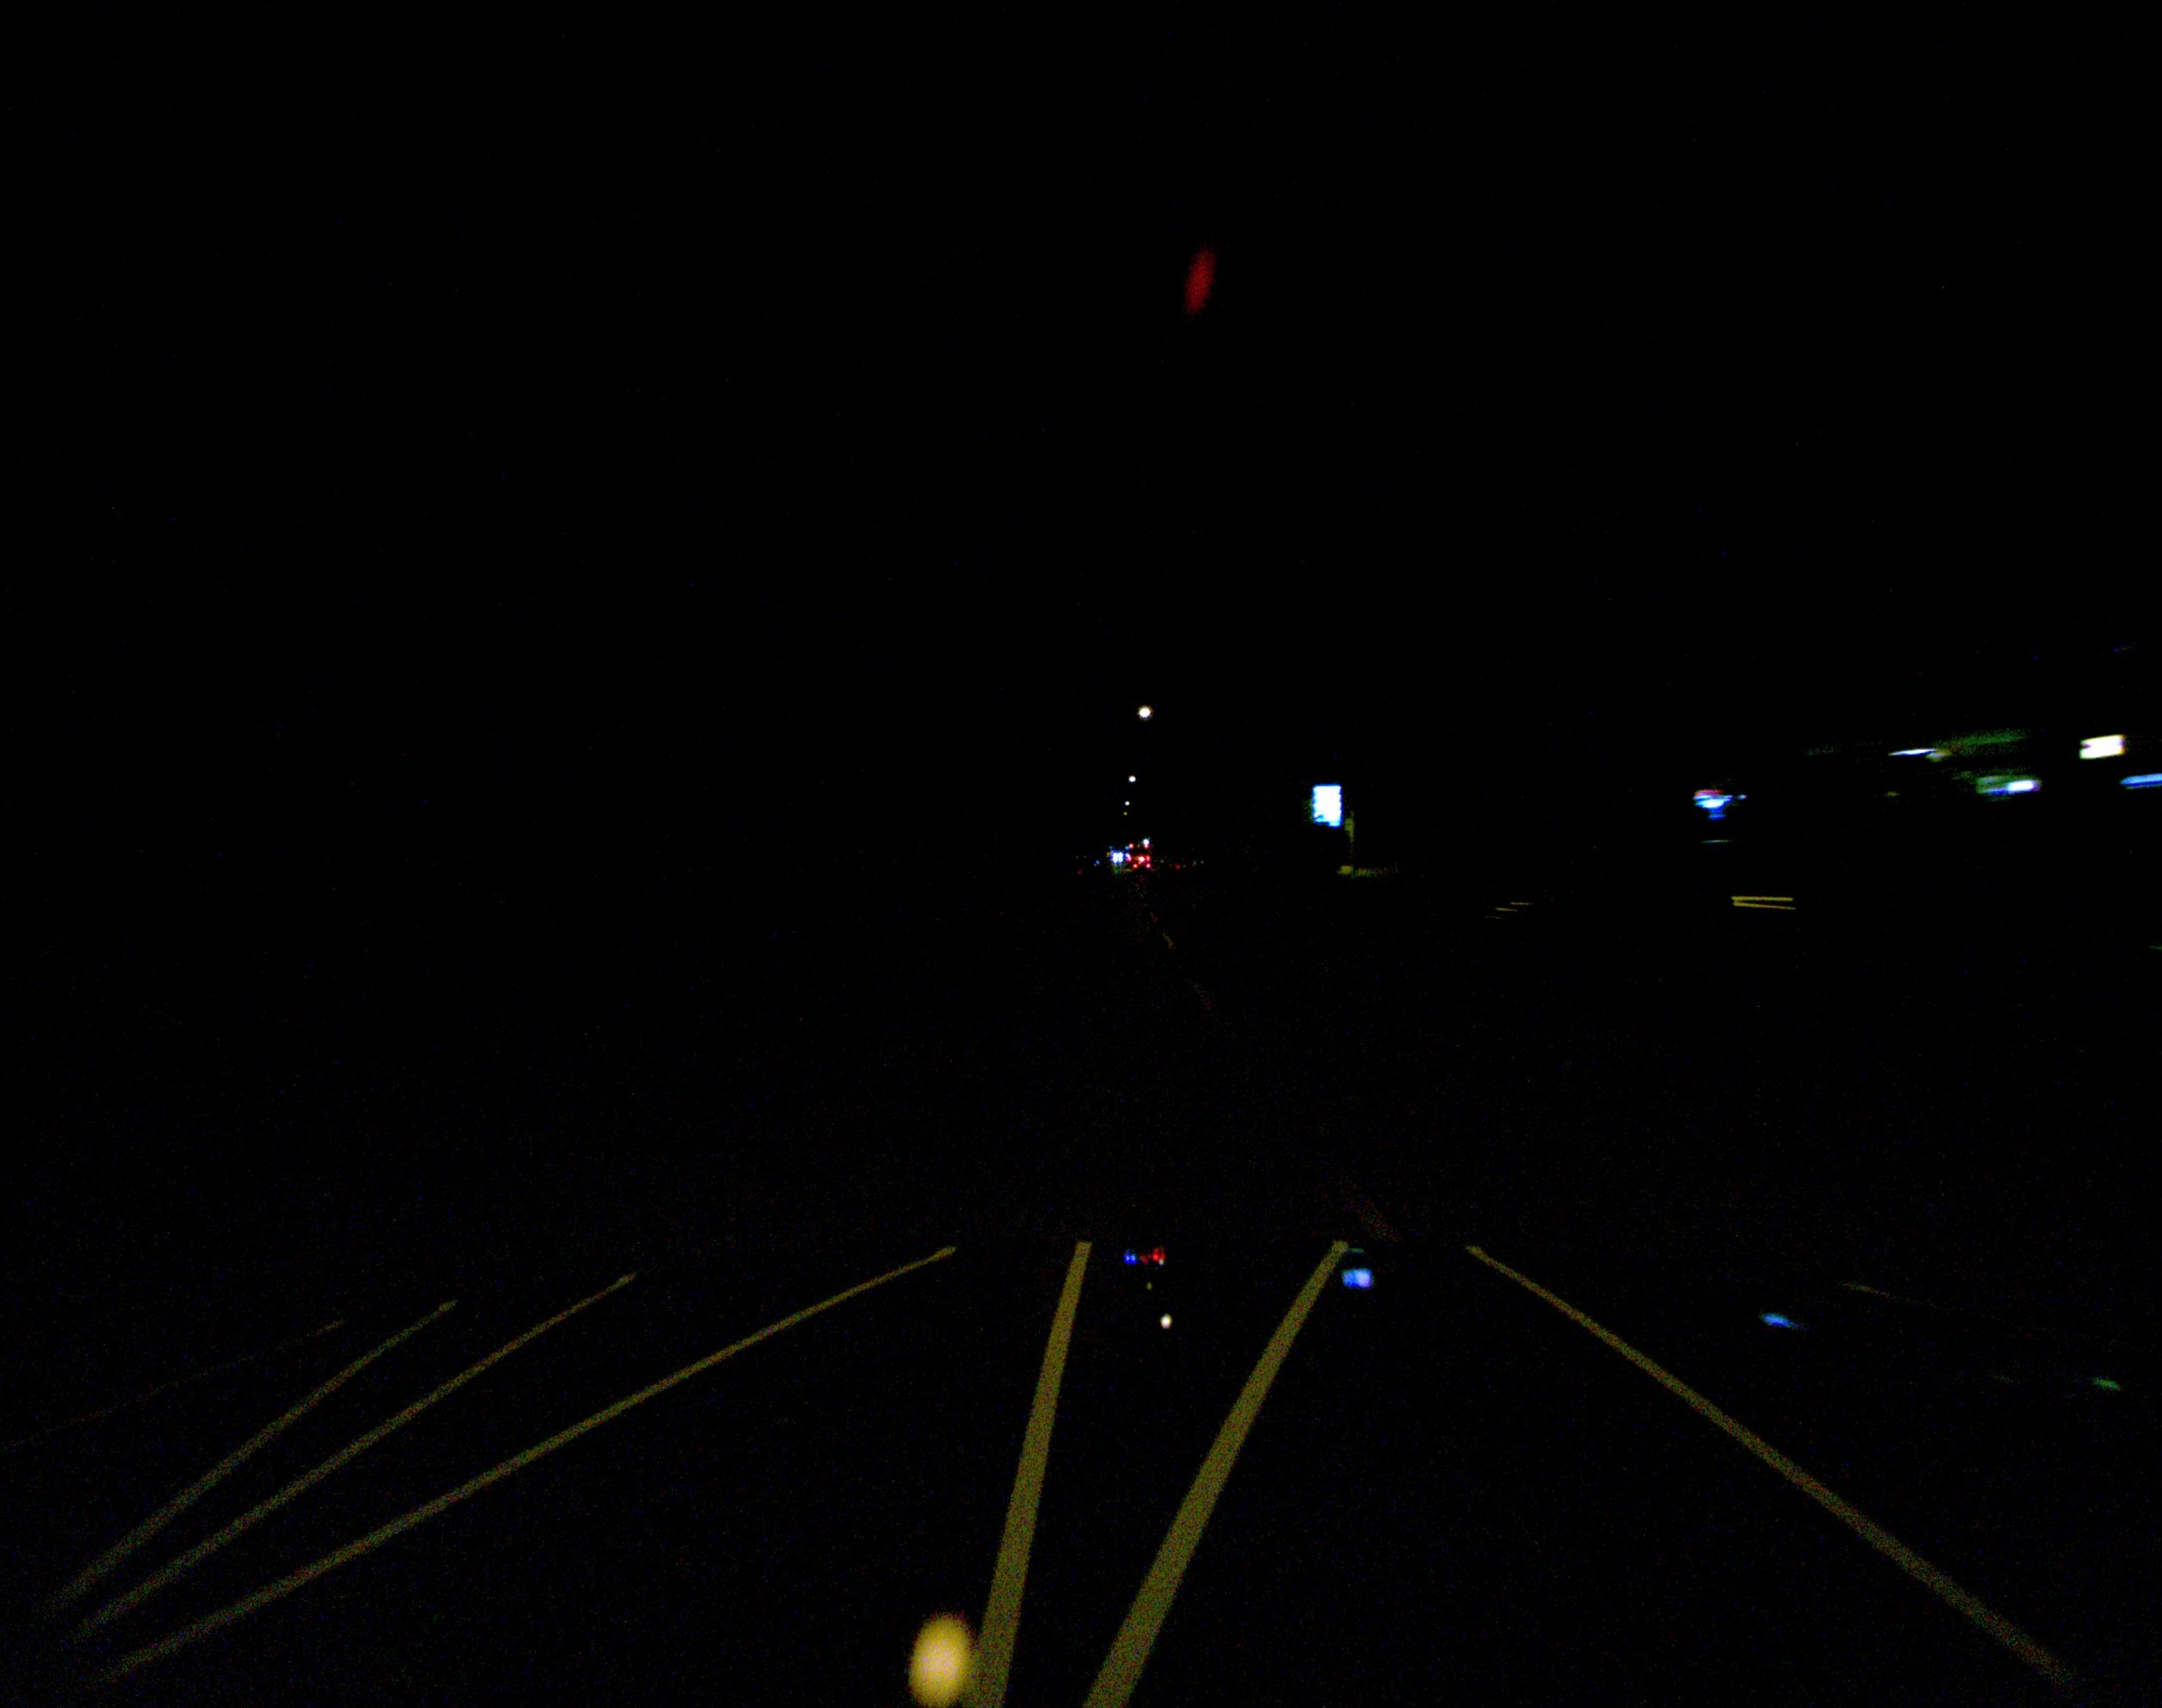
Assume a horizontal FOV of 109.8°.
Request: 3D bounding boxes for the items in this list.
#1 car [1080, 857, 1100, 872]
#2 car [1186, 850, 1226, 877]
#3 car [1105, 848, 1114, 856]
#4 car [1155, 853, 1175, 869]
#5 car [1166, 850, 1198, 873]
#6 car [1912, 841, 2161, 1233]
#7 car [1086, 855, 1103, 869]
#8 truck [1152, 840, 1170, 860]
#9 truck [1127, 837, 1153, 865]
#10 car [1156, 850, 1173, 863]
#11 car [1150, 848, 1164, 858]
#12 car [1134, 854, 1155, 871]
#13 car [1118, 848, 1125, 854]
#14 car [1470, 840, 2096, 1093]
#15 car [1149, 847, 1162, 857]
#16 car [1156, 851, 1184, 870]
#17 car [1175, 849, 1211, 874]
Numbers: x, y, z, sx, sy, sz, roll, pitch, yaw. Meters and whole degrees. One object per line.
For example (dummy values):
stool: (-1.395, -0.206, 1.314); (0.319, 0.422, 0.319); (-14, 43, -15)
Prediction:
car: (0.980, 1.031, 77.278); (1.873, 1.407, 4.000); (-2, 0, 2)
car: (8.108, 0.578, 49.522); (1.874, 1.635, 4.000); (-2, 0, -1)
car: (6.333, -0.461, 168.469); (1.792, 1.829, 3.846); (-2, 0, 1)
car: (8.904, 0.731, 81.000); (1.873, 1.551, 4.001); (-2, 0, 3)
car: (7.969, 0.564, 60.270); (1.874, 1.635, 4.000); (-2, 0, -1)
car: (5.234, 0.721, 1.643); (1.864, 1.523, 4.588); (-4, 0, 2)
car: (1.522, 0.850, 84.418); (1.873, 1.407, 4.000); (-2, 0, 2)
truck: (10.957, -0.596, 104.357); (2.084, 2.562, 6.875); (-2, 0, 3)
truck: (7.740, -0.400, 100.459); (3.222, 3.359, 8.852); (-2, 0, 3)
car: (10.264, 0.307, 93.415); (1.873, 1.551, 4.354); (-2, 0, 3)
car: (11.820, -0.172, 118.305); (1.873, 1.551, 4.354); (-2, 0, 3)
car: (6.383, 0.834, 76.738); (1.873, 1.635, 4.001); (-2, 0, 3)
car: (12.029, -0.860, 225.572); (1.775, 1.672, 3.815); (-2, 0, 3)
car: (5.335, 0.697, 6.644); (1.864, 1.458, 3.897); (-4, 0, 2)
car: (12.668, -0.323, 129.181); (1.873, 1.551, 4.354); (-2, 0, 3)
car: (7.951, 0.560, 68.199); (1.874, 1.635, 4.000); (-2, 0, -1)
car: (7.921, 0.536, 53.965); (1.874, 1.635, 4.000); (-2, 0, -1)
